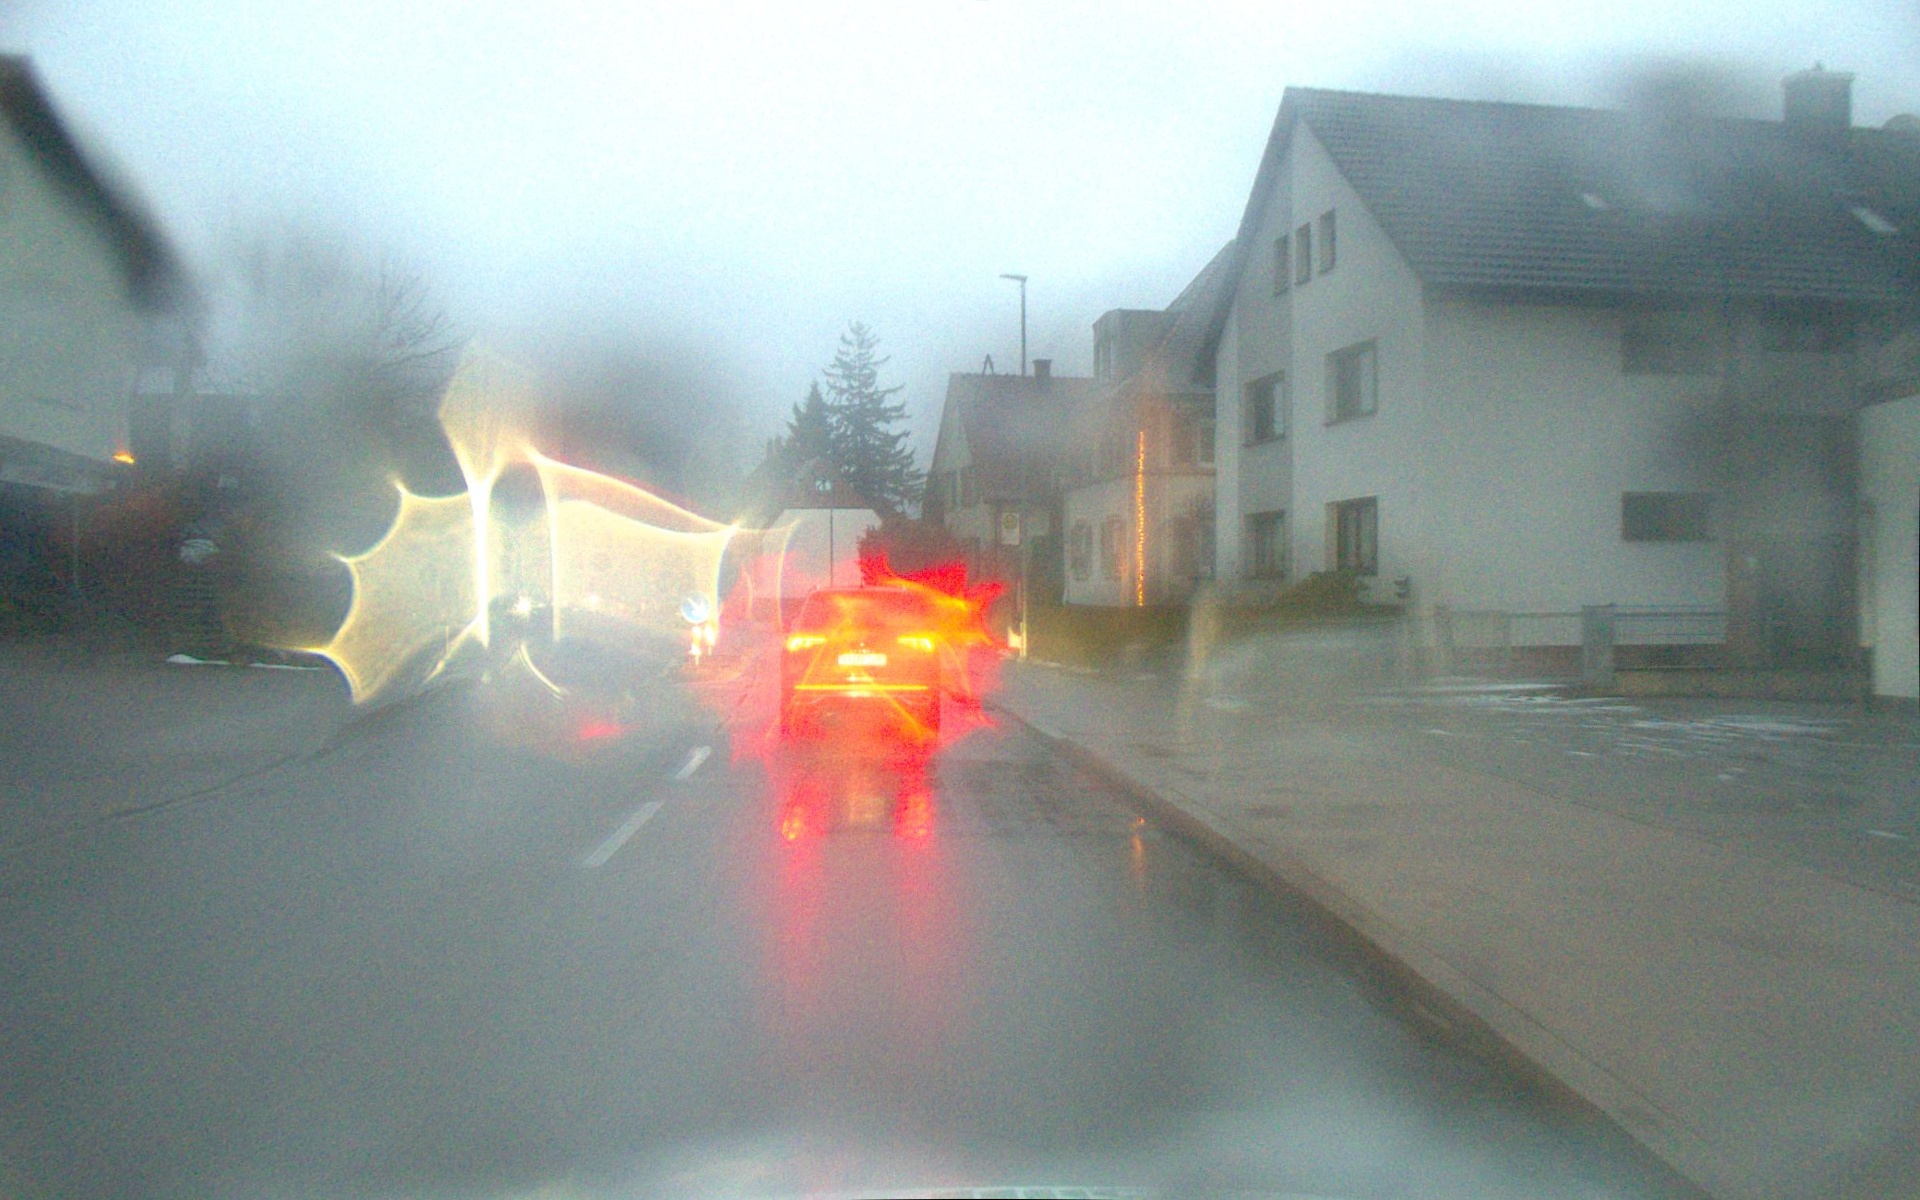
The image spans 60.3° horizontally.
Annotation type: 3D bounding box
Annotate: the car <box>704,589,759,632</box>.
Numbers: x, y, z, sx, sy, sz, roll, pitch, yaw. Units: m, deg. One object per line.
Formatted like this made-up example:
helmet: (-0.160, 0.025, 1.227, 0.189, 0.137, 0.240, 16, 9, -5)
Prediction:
car: (-10.995, 0.499, 79.231, 2.269, 1.972, 5.003, 0, 0, -12)

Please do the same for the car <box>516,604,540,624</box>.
car: (-35.226, 1.125, 134.889, 1.794, 1.581, 3.982, -2, 0, -16)

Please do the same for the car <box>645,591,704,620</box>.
car: (-21.033, 0.395, 121.839, 4.175, 2.049, 1.804, -1, 0, -14)

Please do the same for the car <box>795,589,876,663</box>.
car: (-3.065, 0.597, 40.094, 1.822, 1.676, 3.995, 1, 0, -6)

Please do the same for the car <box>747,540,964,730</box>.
car: (-1.247, 0.383, 19.893, 2.264, 1.972, 5.014, -1, 0, -4)

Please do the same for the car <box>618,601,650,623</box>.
car: (-20.760, 0.738, 105.177, 1.811, 1.355, 3.924, -1, 0, -13)
